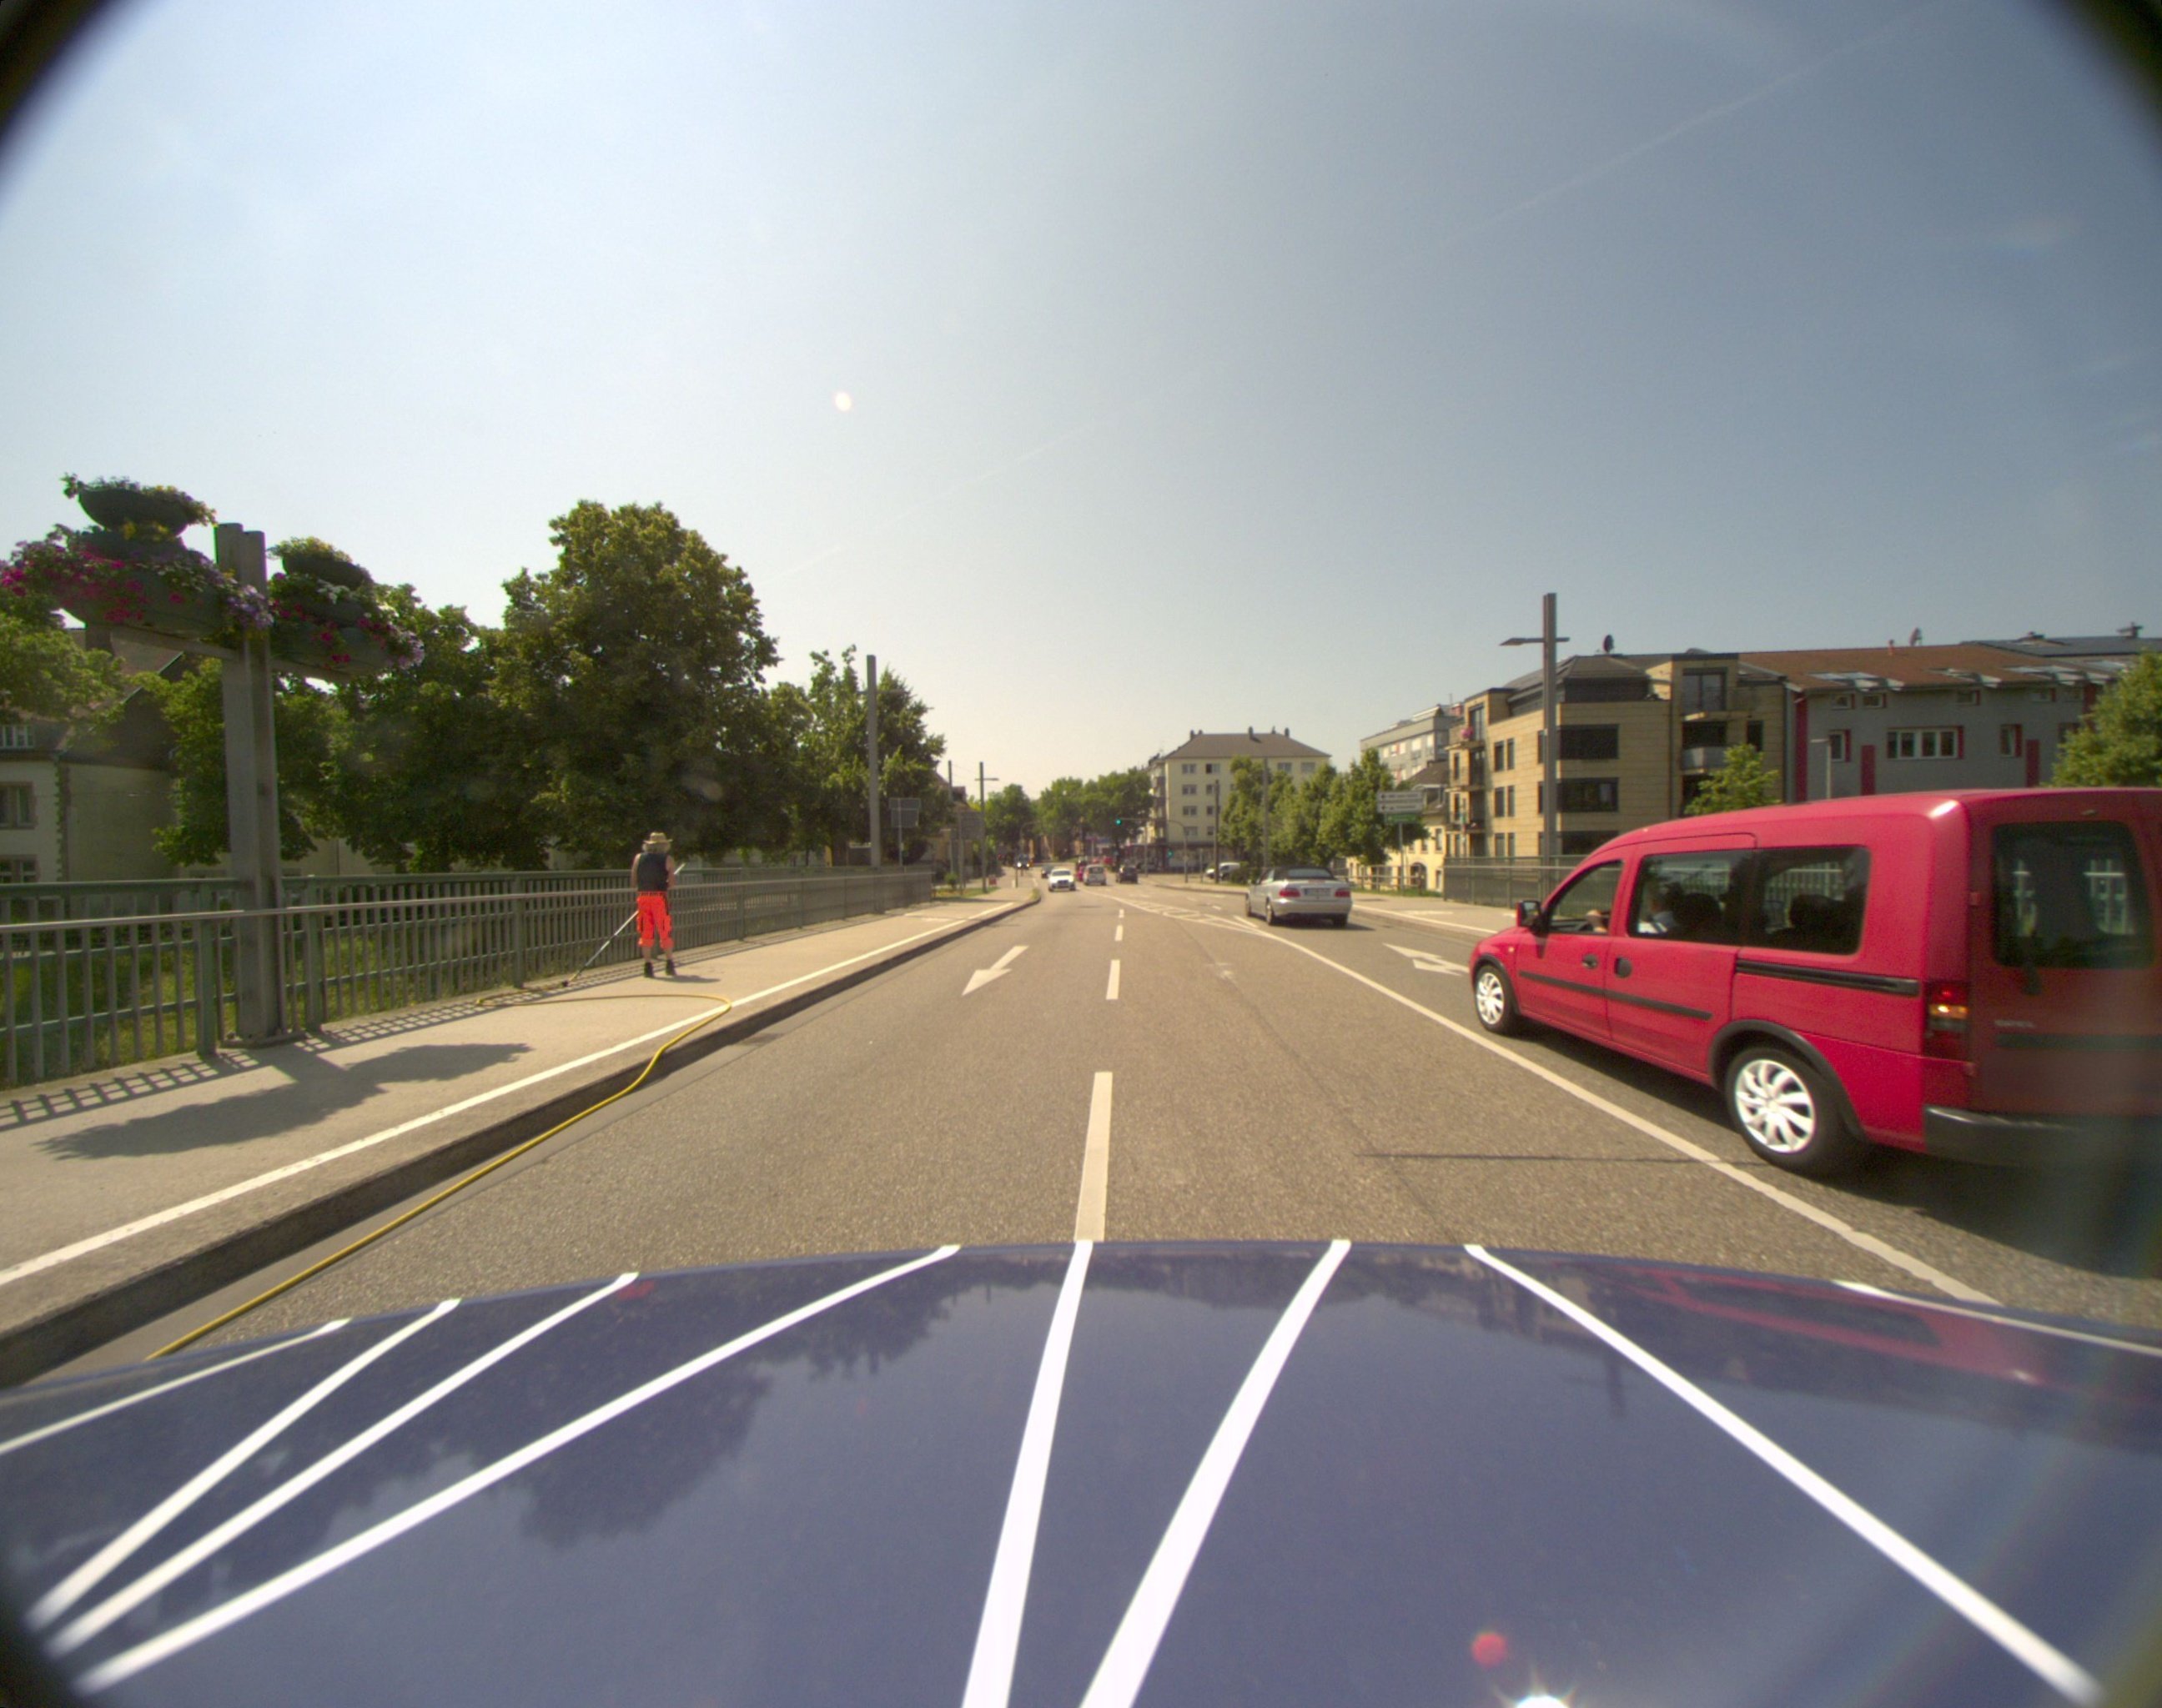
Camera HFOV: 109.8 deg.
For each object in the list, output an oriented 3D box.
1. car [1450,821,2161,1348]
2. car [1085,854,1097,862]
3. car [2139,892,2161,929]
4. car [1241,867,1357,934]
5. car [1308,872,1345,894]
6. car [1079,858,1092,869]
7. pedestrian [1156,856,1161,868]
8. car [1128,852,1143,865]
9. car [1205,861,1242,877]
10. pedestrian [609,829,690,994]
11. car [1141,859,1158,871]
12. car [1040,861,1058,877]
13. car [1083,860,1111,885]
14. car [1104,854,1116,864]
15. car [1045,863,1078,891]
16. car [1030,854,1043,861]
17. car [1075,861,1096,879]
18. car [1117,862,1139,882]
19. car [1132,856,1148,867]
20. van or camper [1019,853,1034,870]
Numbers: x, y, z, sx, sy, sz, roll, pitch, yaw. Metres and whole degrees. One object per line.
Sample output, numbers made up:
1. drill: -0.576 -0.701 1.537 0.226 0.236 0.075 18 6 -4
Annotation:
1. car: 4.045 0.730 4.605 1.740 1.767 4.176 -1 1 3
2. car: 2.005 0.736 152.217 1.914 1.511 4.330 -1 1 -8
3. car: 50.663 2.586 33.908 3.996 1.640 2.000 0 0 1
4. car: 4.995 0.998 18.009 1.702 1.350 4.457 0 0 3
5. car: 21.769 2.539 67.508 1.819 1.619 5.286 1 1 3
6. car: 0.687 1.423 115.048 1.719 1.477 4.029 -3 2 -4
7. pedestrian: 11.116 1.169 108.704 0.629 1.750 0.742 -1 1 -5
8. car: 8.575 0.686 119.552 1.643 1.828 3.857 -2 1 -5
9. car: 15.937 1.689 85.012 3.697 1.725 1.892 1 1 -6
10. pedestrian: -5.285 0.675 9.342 0.548 1.949 0.672 -1 2 -3
11. car: 9.531 1.544 105.728 1.587 1.450 3.937 -1 1 -5
12. car: -3.729 1.711 88.079 1.777 1.480 3.996 -3 2 -6
13. car: 1.356 1.578 67.020 1.842 1.850 4.659 -4 2 -5
14. car: 4.968 0.850 131.178 1.640 1.460 3.632 -1 1 -4
15. car: -1.481 1.666 56.514 1.999 1.740 4.442 -3 1 -6
16. car: -9.798 0.792 168.368 1.844 1.390 4.044 -1 -1 -19
17. car: 0.445 1.561 75.871 1.652 1.456 3.856 1 3 -7
18. car: 4.454 1.713 72.287 1.741 1.631 3.919 3 2 -2
19. car: 8.784 1.120 113.676 1.627 1.560 4.836 -1 1 -5
20. van or camper: -8.993 1.225 125.228 2.165 2.567 5.841 -2 2 -5
